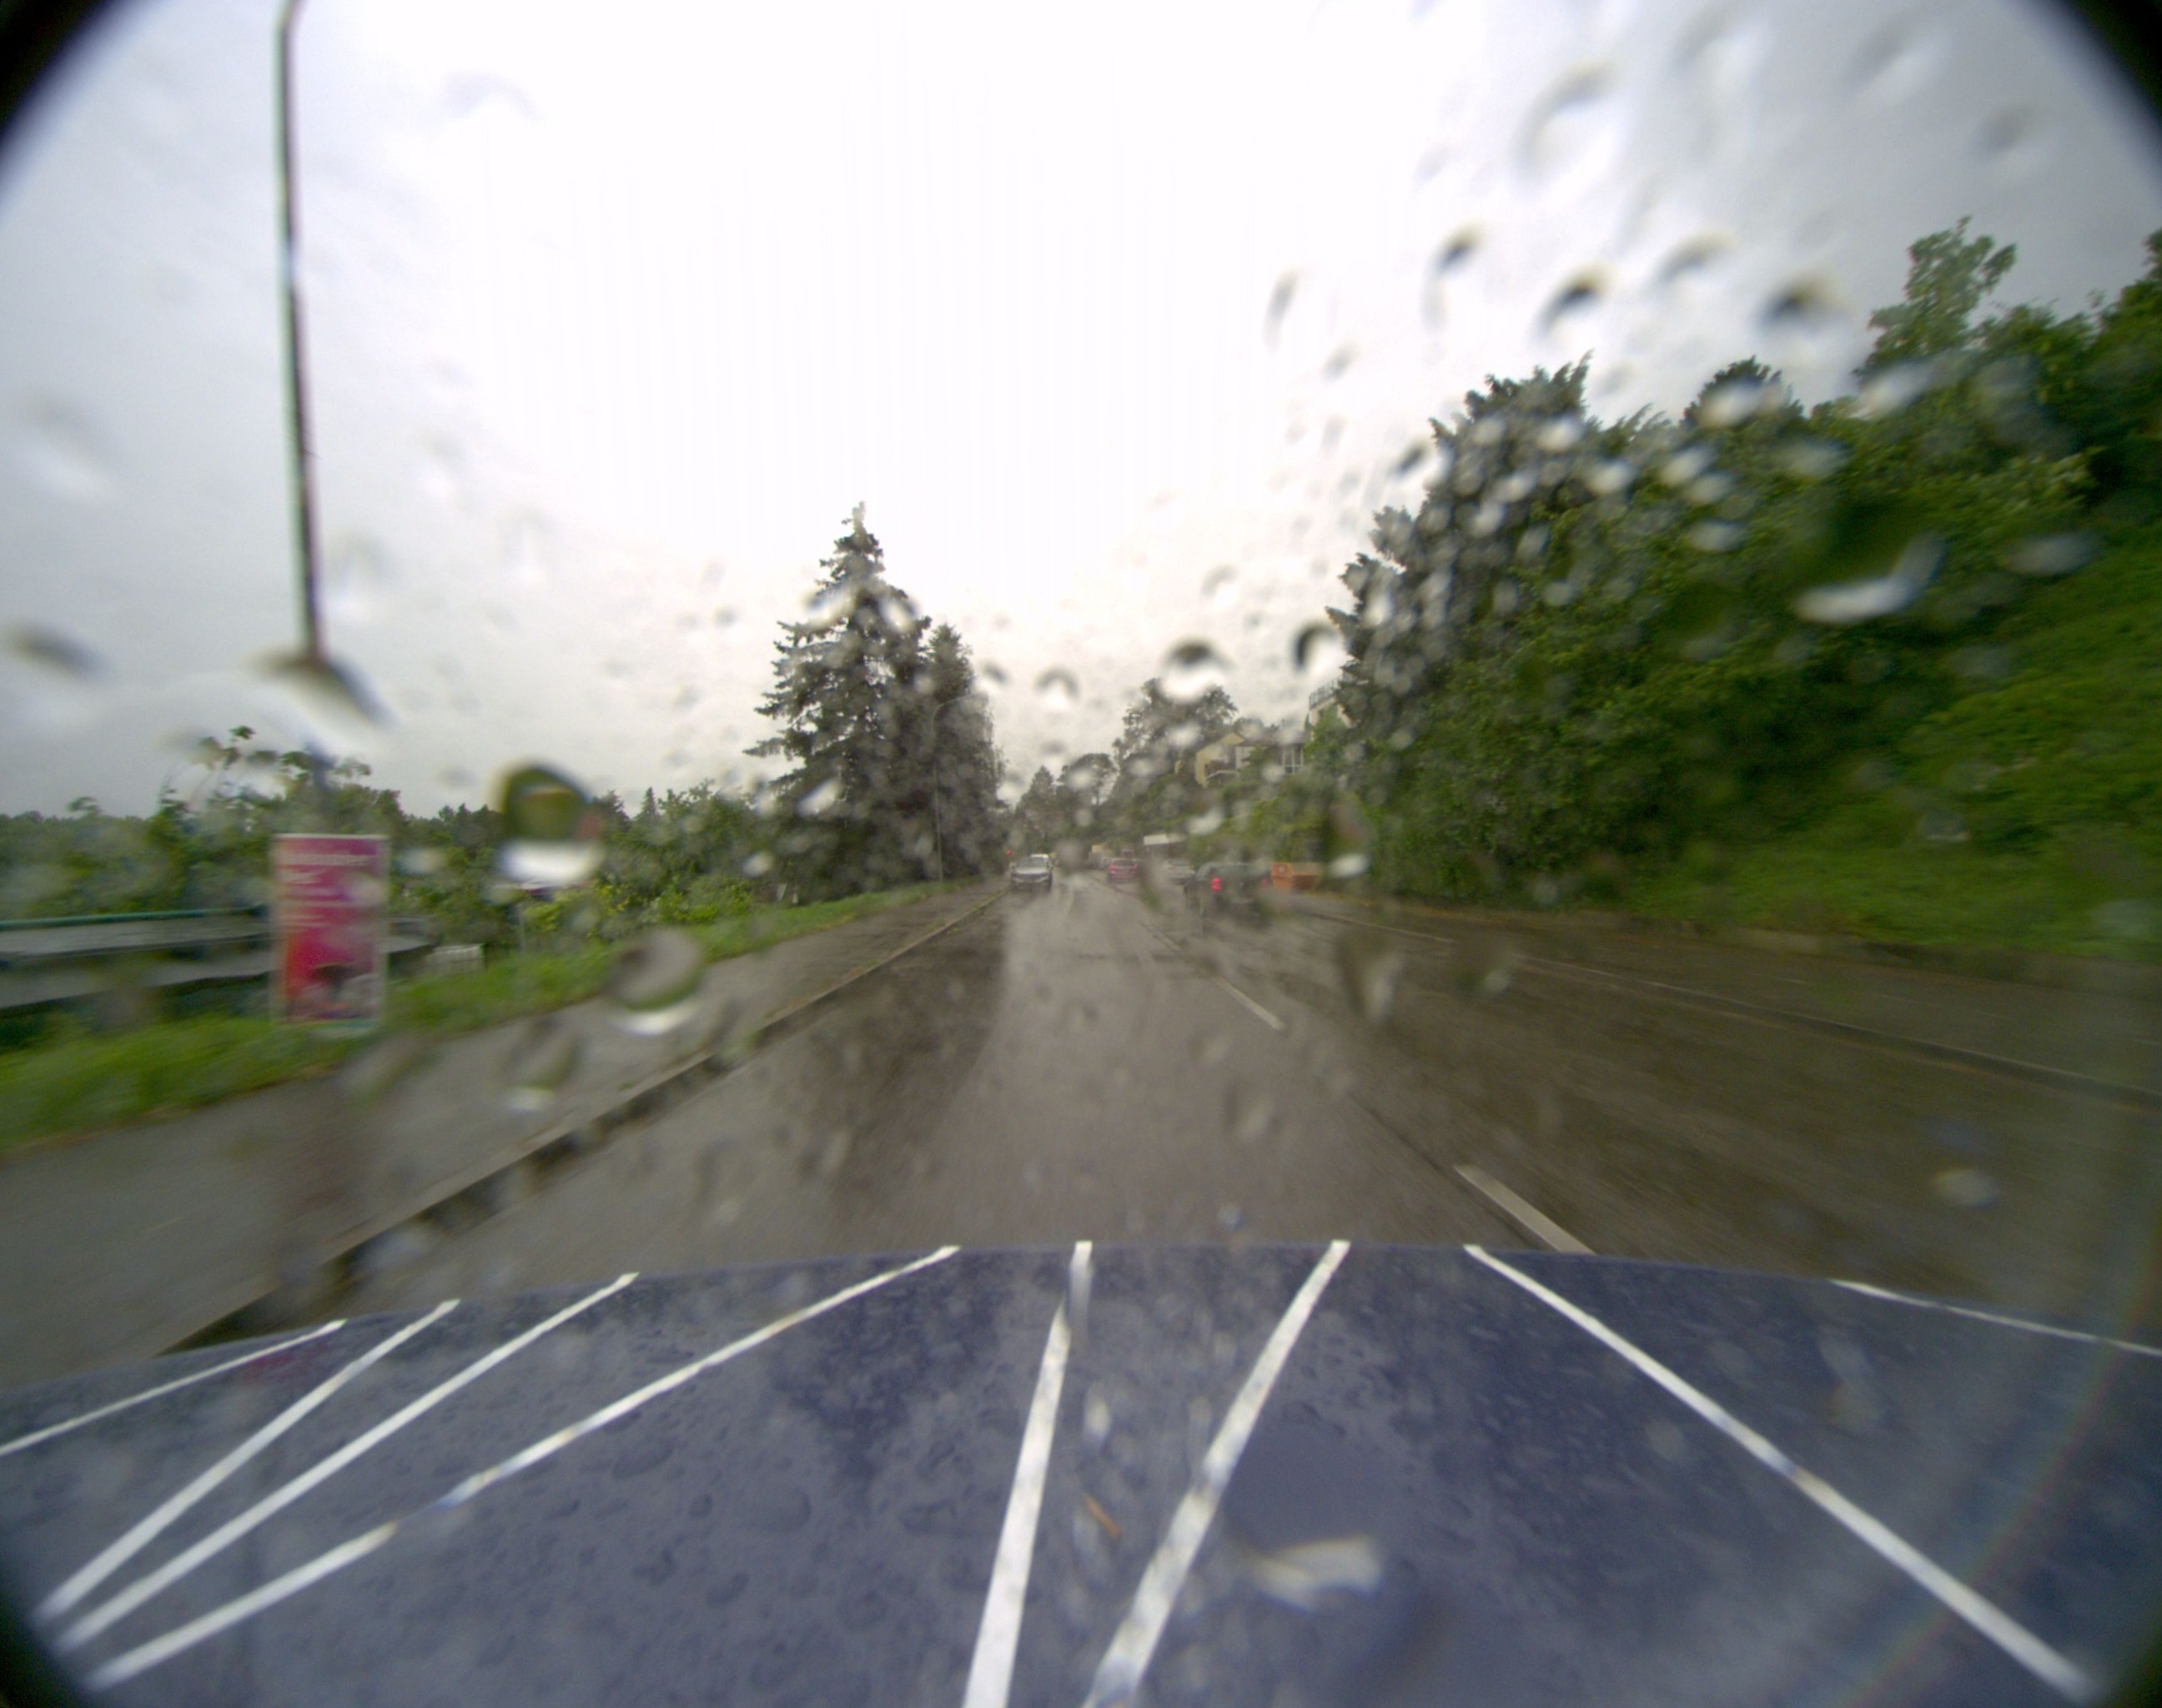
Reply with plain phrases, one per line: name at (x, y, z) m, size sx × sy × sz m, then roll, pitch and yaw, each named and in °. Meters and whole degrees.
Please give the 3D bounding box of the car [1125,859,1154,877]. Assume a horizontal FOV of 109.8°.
car at (4.995, 1.178, 65.312) m, size 1.761 × 1.394 × 3.768 m, roll 2°, pitch 0°, yaw -5°

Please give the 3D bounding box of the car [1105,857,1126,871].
car at (3.703, 1.131, 82.708) m, size 1.761 × 1.400 × 3.703 m, roll 3°, pitch -1°, yaw -6°

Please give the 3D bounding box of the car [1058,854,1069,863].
car at (-3.323, 0.871, 143.469) m, size 1.747 × 1.552 × 4.106 m, roll 2°, pitch 0°, yaw -7°

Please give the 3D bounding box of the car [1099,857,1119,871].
car at (3.273, 1.162, 88.235) m, size 1.761 × 1.530 × 3.755 m, roll 3°, pitch -1°, yaw -6°

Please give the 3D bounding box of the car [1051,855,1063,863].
car at (-5.070, 1.095, 159.039) m, size 1.915 × 1.472 × 4.751 m, roll 2°, pitch 0°, yaw -8°

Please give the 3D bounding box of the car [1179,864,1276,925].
car at (3.698, 0.977, 19.835) m, size 1.659 × 1.344 × 3.986 m, roll -1°, pitch 0°, yaw -2°

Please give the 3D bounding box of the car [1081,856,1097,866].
car at (1.141, 0.979, 108.058) m, size 1.814 × 1.341 × 3.774 m, roll 1°, pitch -1°, yaw -7°

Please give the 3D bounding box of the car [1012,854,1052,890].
car at (-2.341, 0.844, 37.511) m, size 1.820 × 1.636 × 4.394 m, roll -1°, pitch 0°, yaw -2°

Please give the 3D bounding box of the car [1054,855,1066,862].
car at (-4.092, 0.899, 148.057) m, size 1.722 × 1.357 × 4.080 m, roll 2°, pitch -1°, yaw -11°

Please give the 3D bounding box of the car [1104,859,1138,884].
car at (2.468, 1.071, 47.432) m, size 1.667 × 1.452 × 3.660 m, roll -1°, pitch 0°, yaw -4°

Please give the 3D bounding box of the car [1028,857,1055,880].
car at (-2.623, 0.950, 51.054) m, size 1.714 × 1.395 × 4.202 m, roll -1°, pitch 0°, yaw -2°

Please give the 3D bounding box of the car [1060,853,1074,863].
car at (-2.605, 0.740, 138.416) m, size 1.880 × 1.616 × 4.590 m, roll 3°, pitch -1°, yaw -8°

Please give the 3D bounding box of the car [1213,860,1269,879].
car at (11.888, 1.174, 56.454) m, size 3.767 × 1.375 × 1.866 m, roll 0°, pitch 0°, yaw -1°

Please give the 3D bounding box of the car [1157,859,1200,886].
car at (5.863, 1.113, 46.252) m, size 1.761 × 1.489 × 4.218 m, roll 1°, pitch 0°, yaw -4°

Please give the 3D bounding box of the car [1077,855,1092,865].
car at (0.464, 0.942, 114.888) m, size 1.791 × 1.406 × 4.215 m, roll 1°, pitch -1°, yaw -7°

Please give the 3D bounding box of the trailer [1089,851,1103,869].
trailer at (2.028, 0.823, 102.682) m, size 1.541 × 2.385 × 3.072 m, roll 2°, pitch 0°, yaw -3°

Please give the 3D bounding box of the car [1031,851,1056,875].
car at (-2.838, 0.667, 58.492) m, size 1.789 × 1.780 × 4.360 m, roll -1°, pitch 0°, yaw -2°
